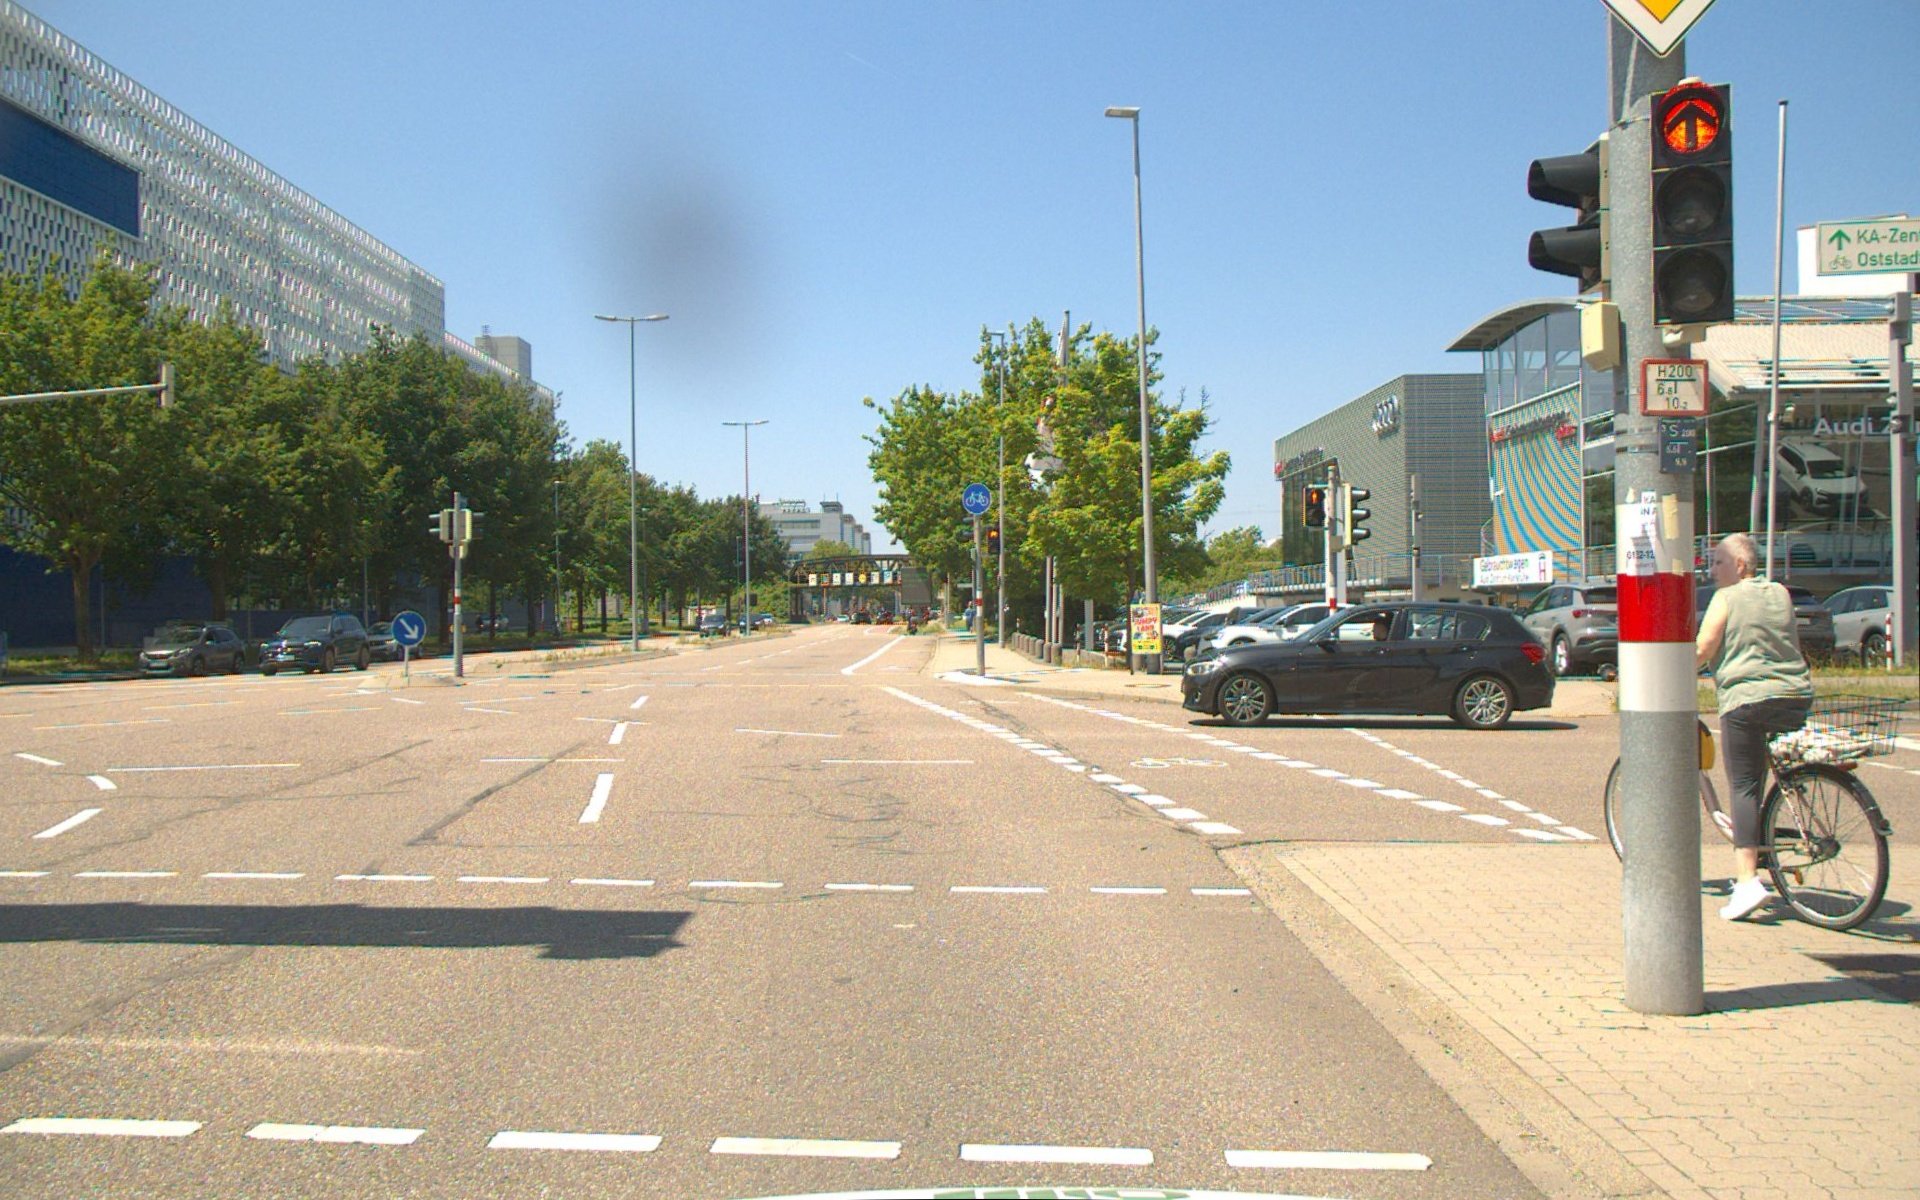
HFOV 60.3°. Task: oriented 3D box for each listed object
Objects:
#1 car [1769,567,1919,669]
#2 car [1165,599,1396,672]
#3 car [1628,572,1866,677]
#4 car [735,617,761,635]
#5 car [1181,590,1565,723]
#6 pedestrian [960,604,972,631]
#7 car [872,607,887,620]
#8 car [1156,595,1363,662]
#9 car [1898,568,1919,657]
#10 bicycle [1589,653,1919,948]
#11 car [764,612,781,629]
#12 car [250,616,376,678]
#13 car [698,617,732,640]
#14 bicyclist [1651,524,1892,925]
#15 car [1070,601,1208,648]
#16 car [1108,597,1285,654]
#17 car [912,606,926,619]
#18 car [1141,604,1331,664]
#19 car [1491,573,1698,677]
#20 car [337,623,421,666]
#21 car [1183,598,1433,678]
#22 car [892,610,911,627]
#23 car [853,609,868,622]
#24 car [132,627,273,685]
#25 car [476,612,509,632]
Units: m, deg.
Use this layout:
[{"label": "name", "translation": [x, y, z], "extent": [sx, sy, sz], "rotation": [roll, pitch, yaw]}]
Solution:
[{"label": "car", "translation": [16.477, 0.255, 29.395], "extent": [1.953, 1.668, 4.440], "rotation": [-1, 0, -1]}, {"label": "car", "translation": [6.892, 0.772, 35.918], "extent": [4.643, 1.482, 2.000], "rotation": [-1, -1, 1]}, {"label": "car", "translation": [13.684, 0.375, 29.102], "extent": [1.953, 1.668, 4.557], "rotation": [-1, 0, -1]}, {"label": "car", "translation": [-17.000, 2.076, 132.804], "extent": [1.650, 1.436, 3.664], "rotation": [-1, -1, -1]}, {"label": "car", "translation": [4.688, 0.648, 19.220], "extent": [4.132, 1.436, 1.673], "rotation": [-1, -1, 9]}, {"label": "pedestrian", "translation": [0.344, 0.989, 93.778], "extent": [0.654, 1.537, 0.736], "rotation": [-1, 0, -1]}, {"label": "car", "translation": [-10.697, 1.797, 219.591], "extent": [1.736, 1.758, 3.999], "rotation": [-1, -1, -1]}, {"label": "car", "translation": [7.155, 0.667, 39.867], "extent": [4.643, 1.482, 2.000], "rotation": [-1, 0, 1]}, {"label": "car", "translation": [18.843, 0.225, 29.282], "extent": [1.847, 1.668, 4.524], "rotation": [-1, 0, -1]}, {"label": "bicycle", "translation": [3.796, 0.864, 7.862], "extent": [0.771, 1.147, 1.919], "rotation": [0, 0, -4]}, {"label": "car", "translation": [-19.405, 2.102, 171.130], "extent": [1.617, 1.682, 4.159], "rotation": [-1, 0, -5]}, {"label": "car", "translation": [-18.332, 1.296, 47.087], "extent": [1.837, 1.626, 4.495], "rotation": [-1, -1, -1]}, {"label": "car", "translation": [-16.127, 1.863, 109.112], "extent": [1.697, 1.452, 3.705], "rotation": [-3, -1, -1]}, {"label": "bicyclist", "translation": [3.778, 0.552, 7.752], "extent": [0.719, 1.779, 0.753], "rotation": [0, 0, -5]}, {"label": "car", "translation": [6.360, 0.857, 59.050], "extent": [4.646, 1.482, 1.999], "rotation": [-2, 0, -3]}, {"label": "car", "translation": [6.616, 0.704, 46.644], "extent": [4.646, 1.482, 1.999], "rotation": [-1, 0, -3]}, {"label": "car", "translation": [-5.435, 1.689, 220.638], "extent": [1.736, 1.758, 3.999], "rotation": [-1, -1, -1]}, {"label": "car", "translation": [7.263, 0.885, 43.853], "extent": [4.646, 1.482, 1.999], "rotation": [-1, 0, -3]}, {"label": "car", "translation": [11.048, 0.385, 29.144], "extent": [1.953, 1.668, 4.267], "rotation": [-1, 0, -1]}, {"label": "car", "translation": [-24.093, 1.834, 68.752], "extent": [1.886, 1.694, 4.089], "rotation": [-1, -1, 2]}, {"label": "car", "translation": [6.952, 0.749, 33.377], "extent": [4.643, 1.482, 2.000], "rotation": [-1, 0, 1]}, {"label": "car", "translation": [-3.705, 1.163, 105.254], "extent": [1.114, 1.060, 2.308], "rotation": [-1, 0, -1]}, {"label": "car", "translation": [-13.543, 2.136, 225.157], "extent": [1.736, 1.758, 3.999], "rotation": [-1, -1, -1]}, {"label": "car", "translation": [-23.428, 1.704, 51.272], "extent": [1.735, 1.560, 3.753], "rotation": [-2, 0, 24]}, {"label": "car", "translation": [-46.565, 2.160, 164.946], "extent": [1.952, 1.842, 4.030], "rotation": [1, 0, 2]}]
